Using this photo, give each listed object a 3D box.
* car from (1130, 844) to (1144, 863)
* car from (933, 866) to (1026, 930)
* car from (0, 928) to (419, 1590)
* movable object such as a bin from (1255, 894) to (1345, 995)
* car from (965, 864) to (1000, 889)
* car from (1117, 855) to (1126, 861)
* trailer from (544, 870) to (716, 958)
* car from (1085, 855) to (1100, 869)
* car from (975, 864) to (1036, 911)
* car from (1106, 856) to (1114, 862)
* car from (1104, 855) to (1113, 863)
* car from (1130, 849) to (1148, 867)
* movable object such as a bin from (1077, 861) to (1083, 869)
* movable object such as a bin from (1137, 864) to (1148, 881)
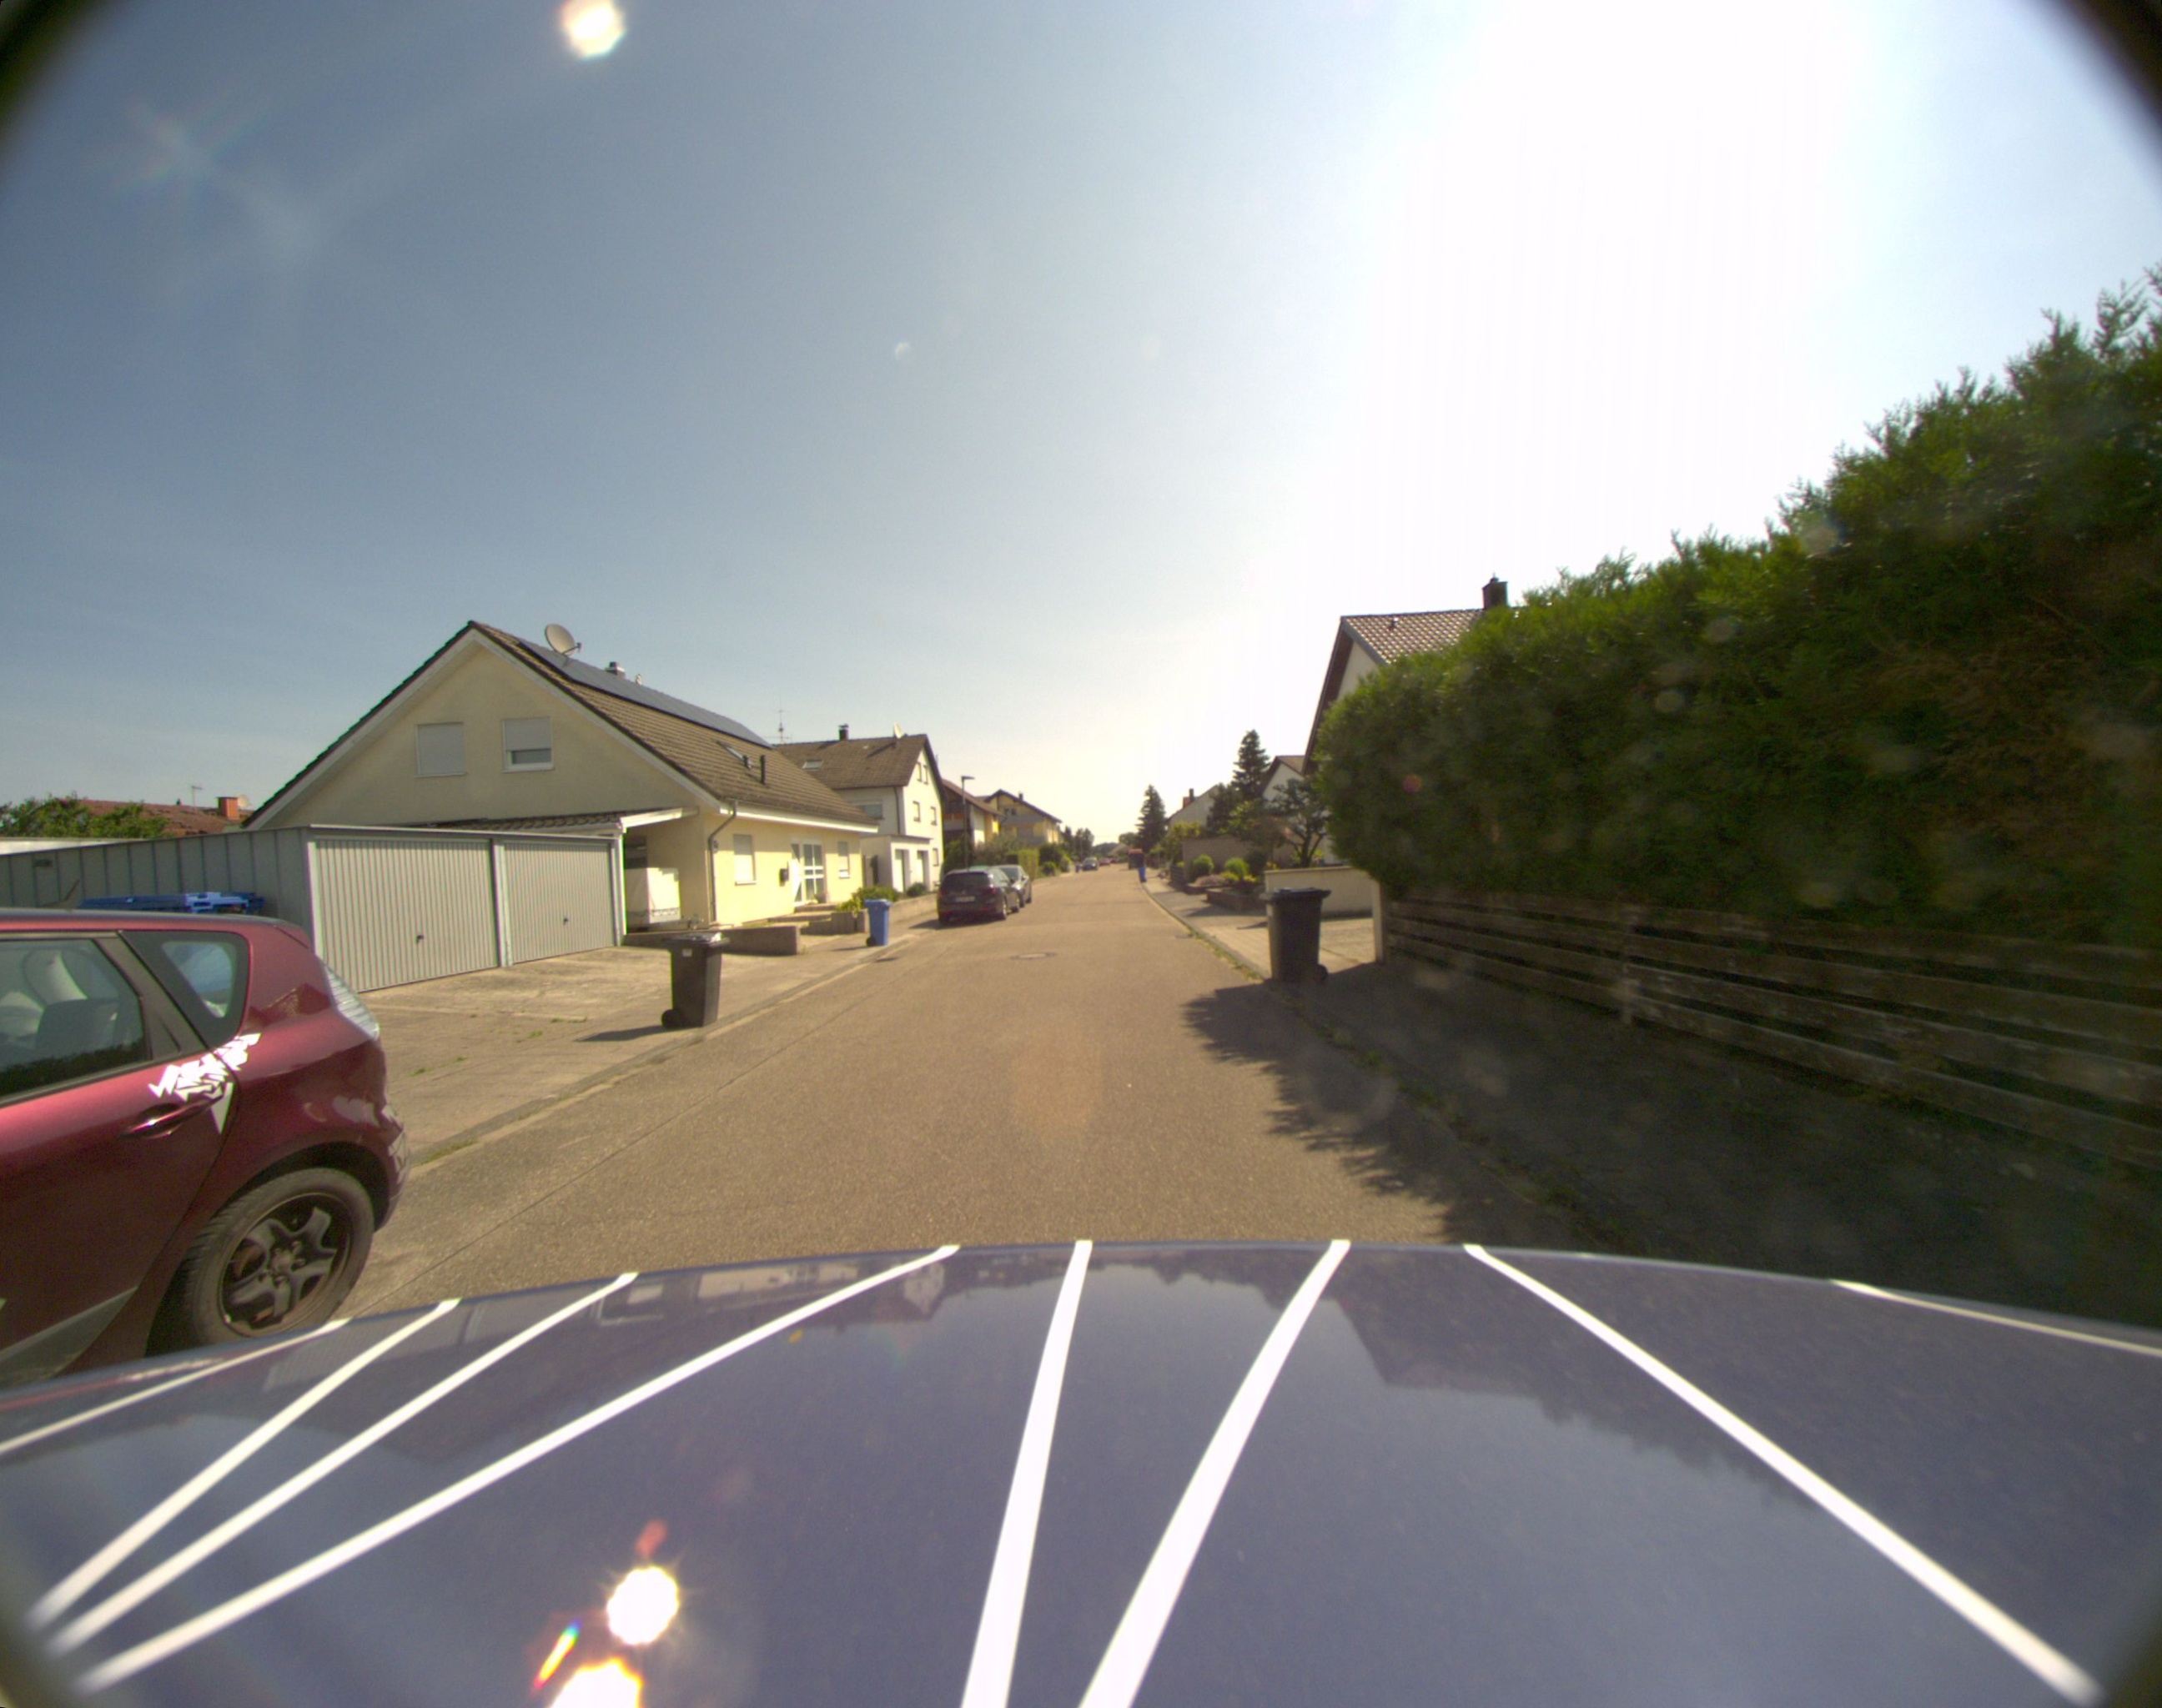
[{"bbox_3d":[7.158,-0.016,96.979,1.555,2.310,4.205,-4,0,3],"label":"car"},{"bbox_3d":[-2.791,1.175,21.865,1.721,1.430,4.503,-5,0,3],"label":"car"},{"bbox_3d":[-3.635,1.123,1.046,1.649,1.572,4.148,-3,0,2],"label":"car"},{"bbox_3d":[2.505,1.025,8.765,0.820,1.057,0.611,-3,0,1],"label":"movable object such as a bin"},{"bbox_3d":[-5.871,1.307,45.584,1.498,1.351,3.527,-3,0,1],"label":"car"},{"bbox_3d":[10.260,0.975,191.185,1.709,1.332,4.000,-4,-2,-4],"label":"car"},{"bbox_3d":[-9.769,1.270,16.575,2.841,1.680,1.403,-3,0,2],"label":"trailer"},{"bbox_3d":[1.500,1.017,97.816,1.631,1.616,4.002,-4,-1,5],"label":"car"},{"bbox_3d":[-2.672,1.151,27.687,1.646,1.470,4.001,-5,-1,1],"label":"car"},{"bbox_3d":[7.783,1.348,203.833,1.709,1.332,4.000,-4,-2,-4],"label":"car"},{"bbox_3d":[5.006,1.000,140.052,1.517,1.397,3.678,-4,-1,1],"label":"car"},{"bbox_3d":[6.703,0.478,87.864,1.869,1.927,4.205,-4,0,3],"label":"car"},{"bbox_3d":[-0.122,1.323,88.553,0.584,0.911,0.598,-4,0,2],"label":"movable object such as a bin"},{"bbox_3d":[3.629,1.092,44.717,0.584,0.911,0.598,-4,0,3],"label":"movable object such as a bin"}]
